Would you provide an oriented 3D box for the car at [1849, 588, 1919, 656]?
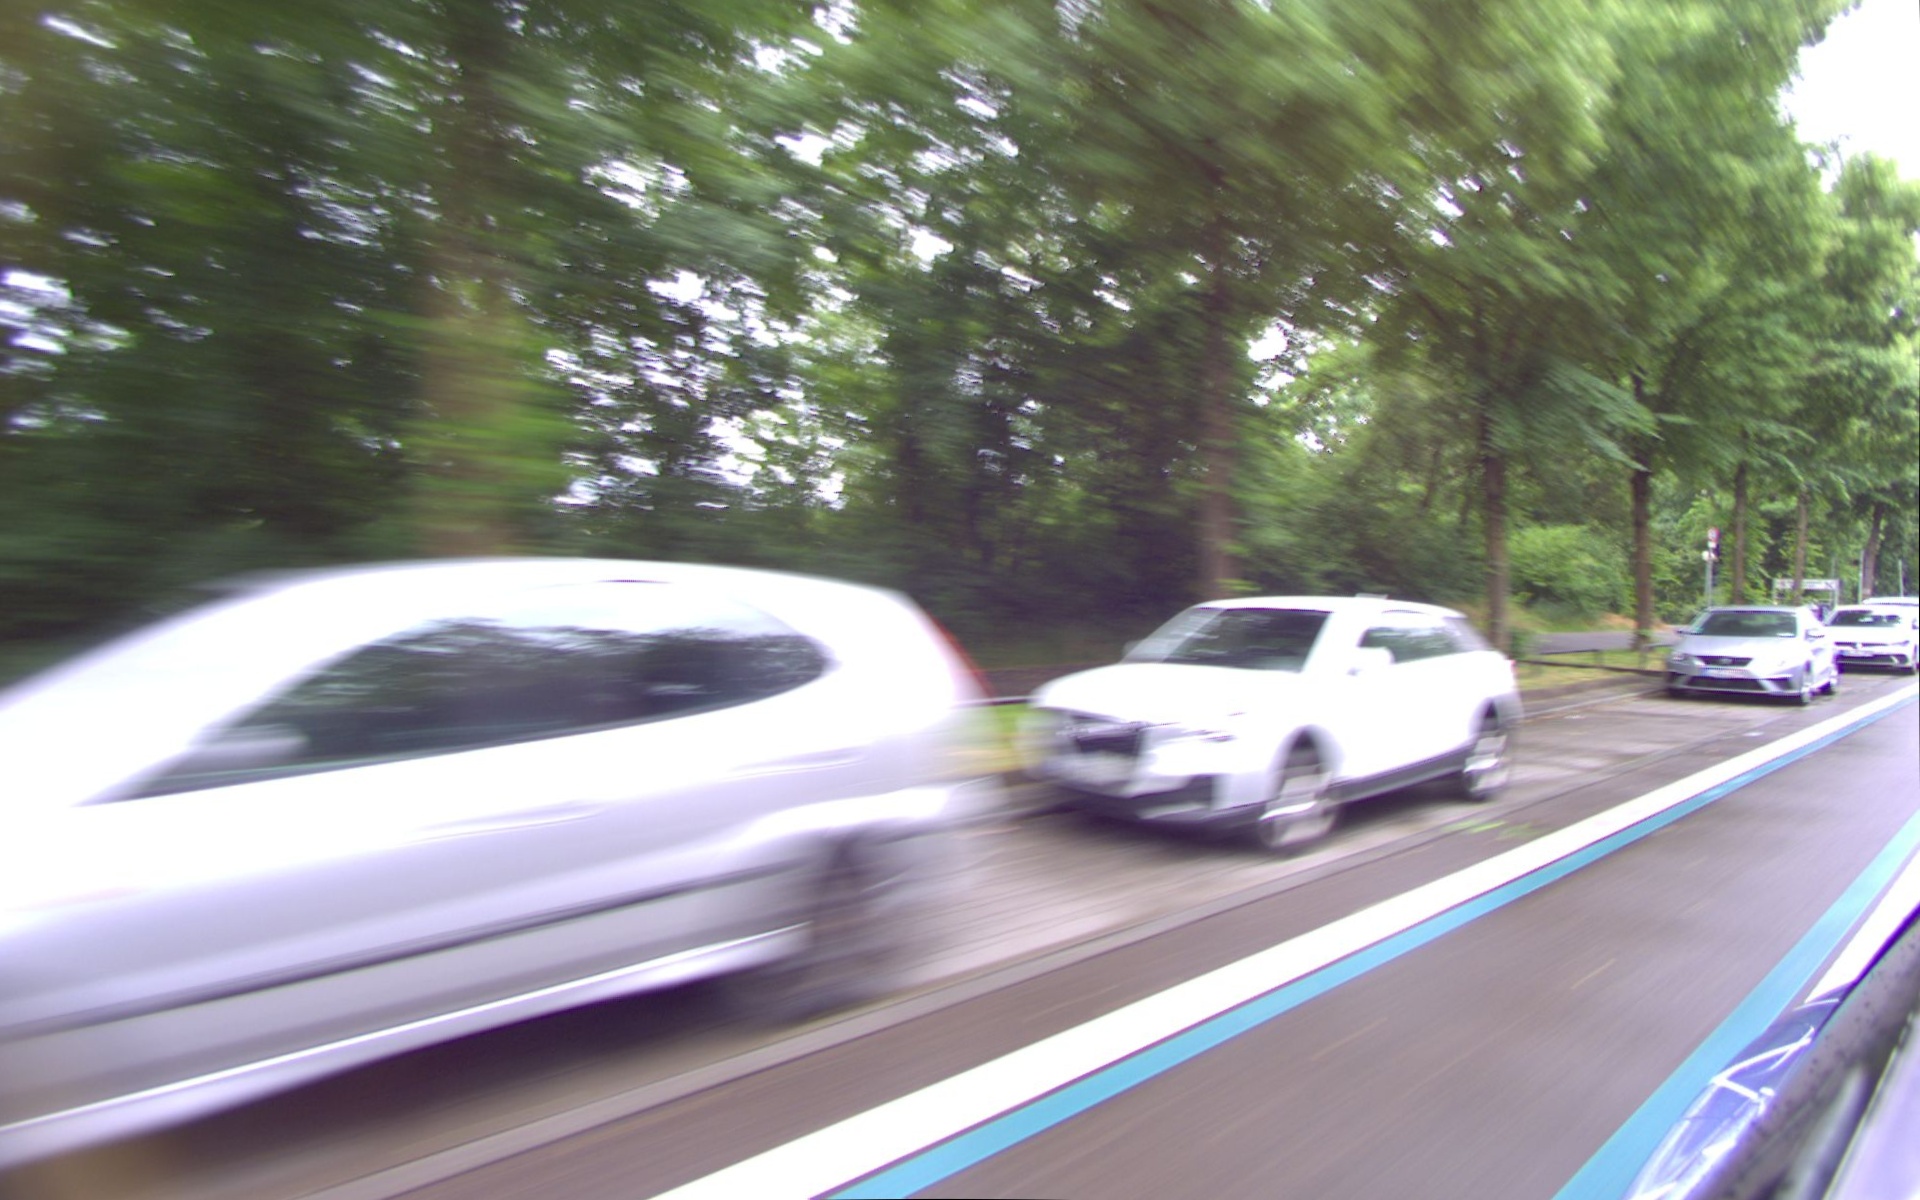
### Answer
[{"bbox_3d":[25.092,0.529,26.636,4.483,1.683,1.997,0,1,-41],"label":"car"}]

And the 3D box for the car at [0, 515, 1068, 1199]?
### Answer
[{"bbox_3d":[-1.858,0.625,3.424,4.657,1.617,1.756,0,0,-41],"label":"car"}]

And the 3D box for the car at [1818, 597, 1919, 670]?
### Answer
[{"bbox_3d":[20.313,0.667,22.220,3.877,1.472,1.700,0,0,-41],"label":"car"}]

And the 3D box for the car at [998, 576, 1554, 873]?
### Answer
[{"bbox_3d":[2.478,0.640,7.300,4.389,1.533,1.701,0,0,-39],"label":"car"}]

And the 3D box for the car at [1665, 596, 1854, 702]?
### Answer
[{"bbox_3d":[12.670,0.672,15.951,4.027,1.472,1.700,0,0,-42],"label":"car"}]
